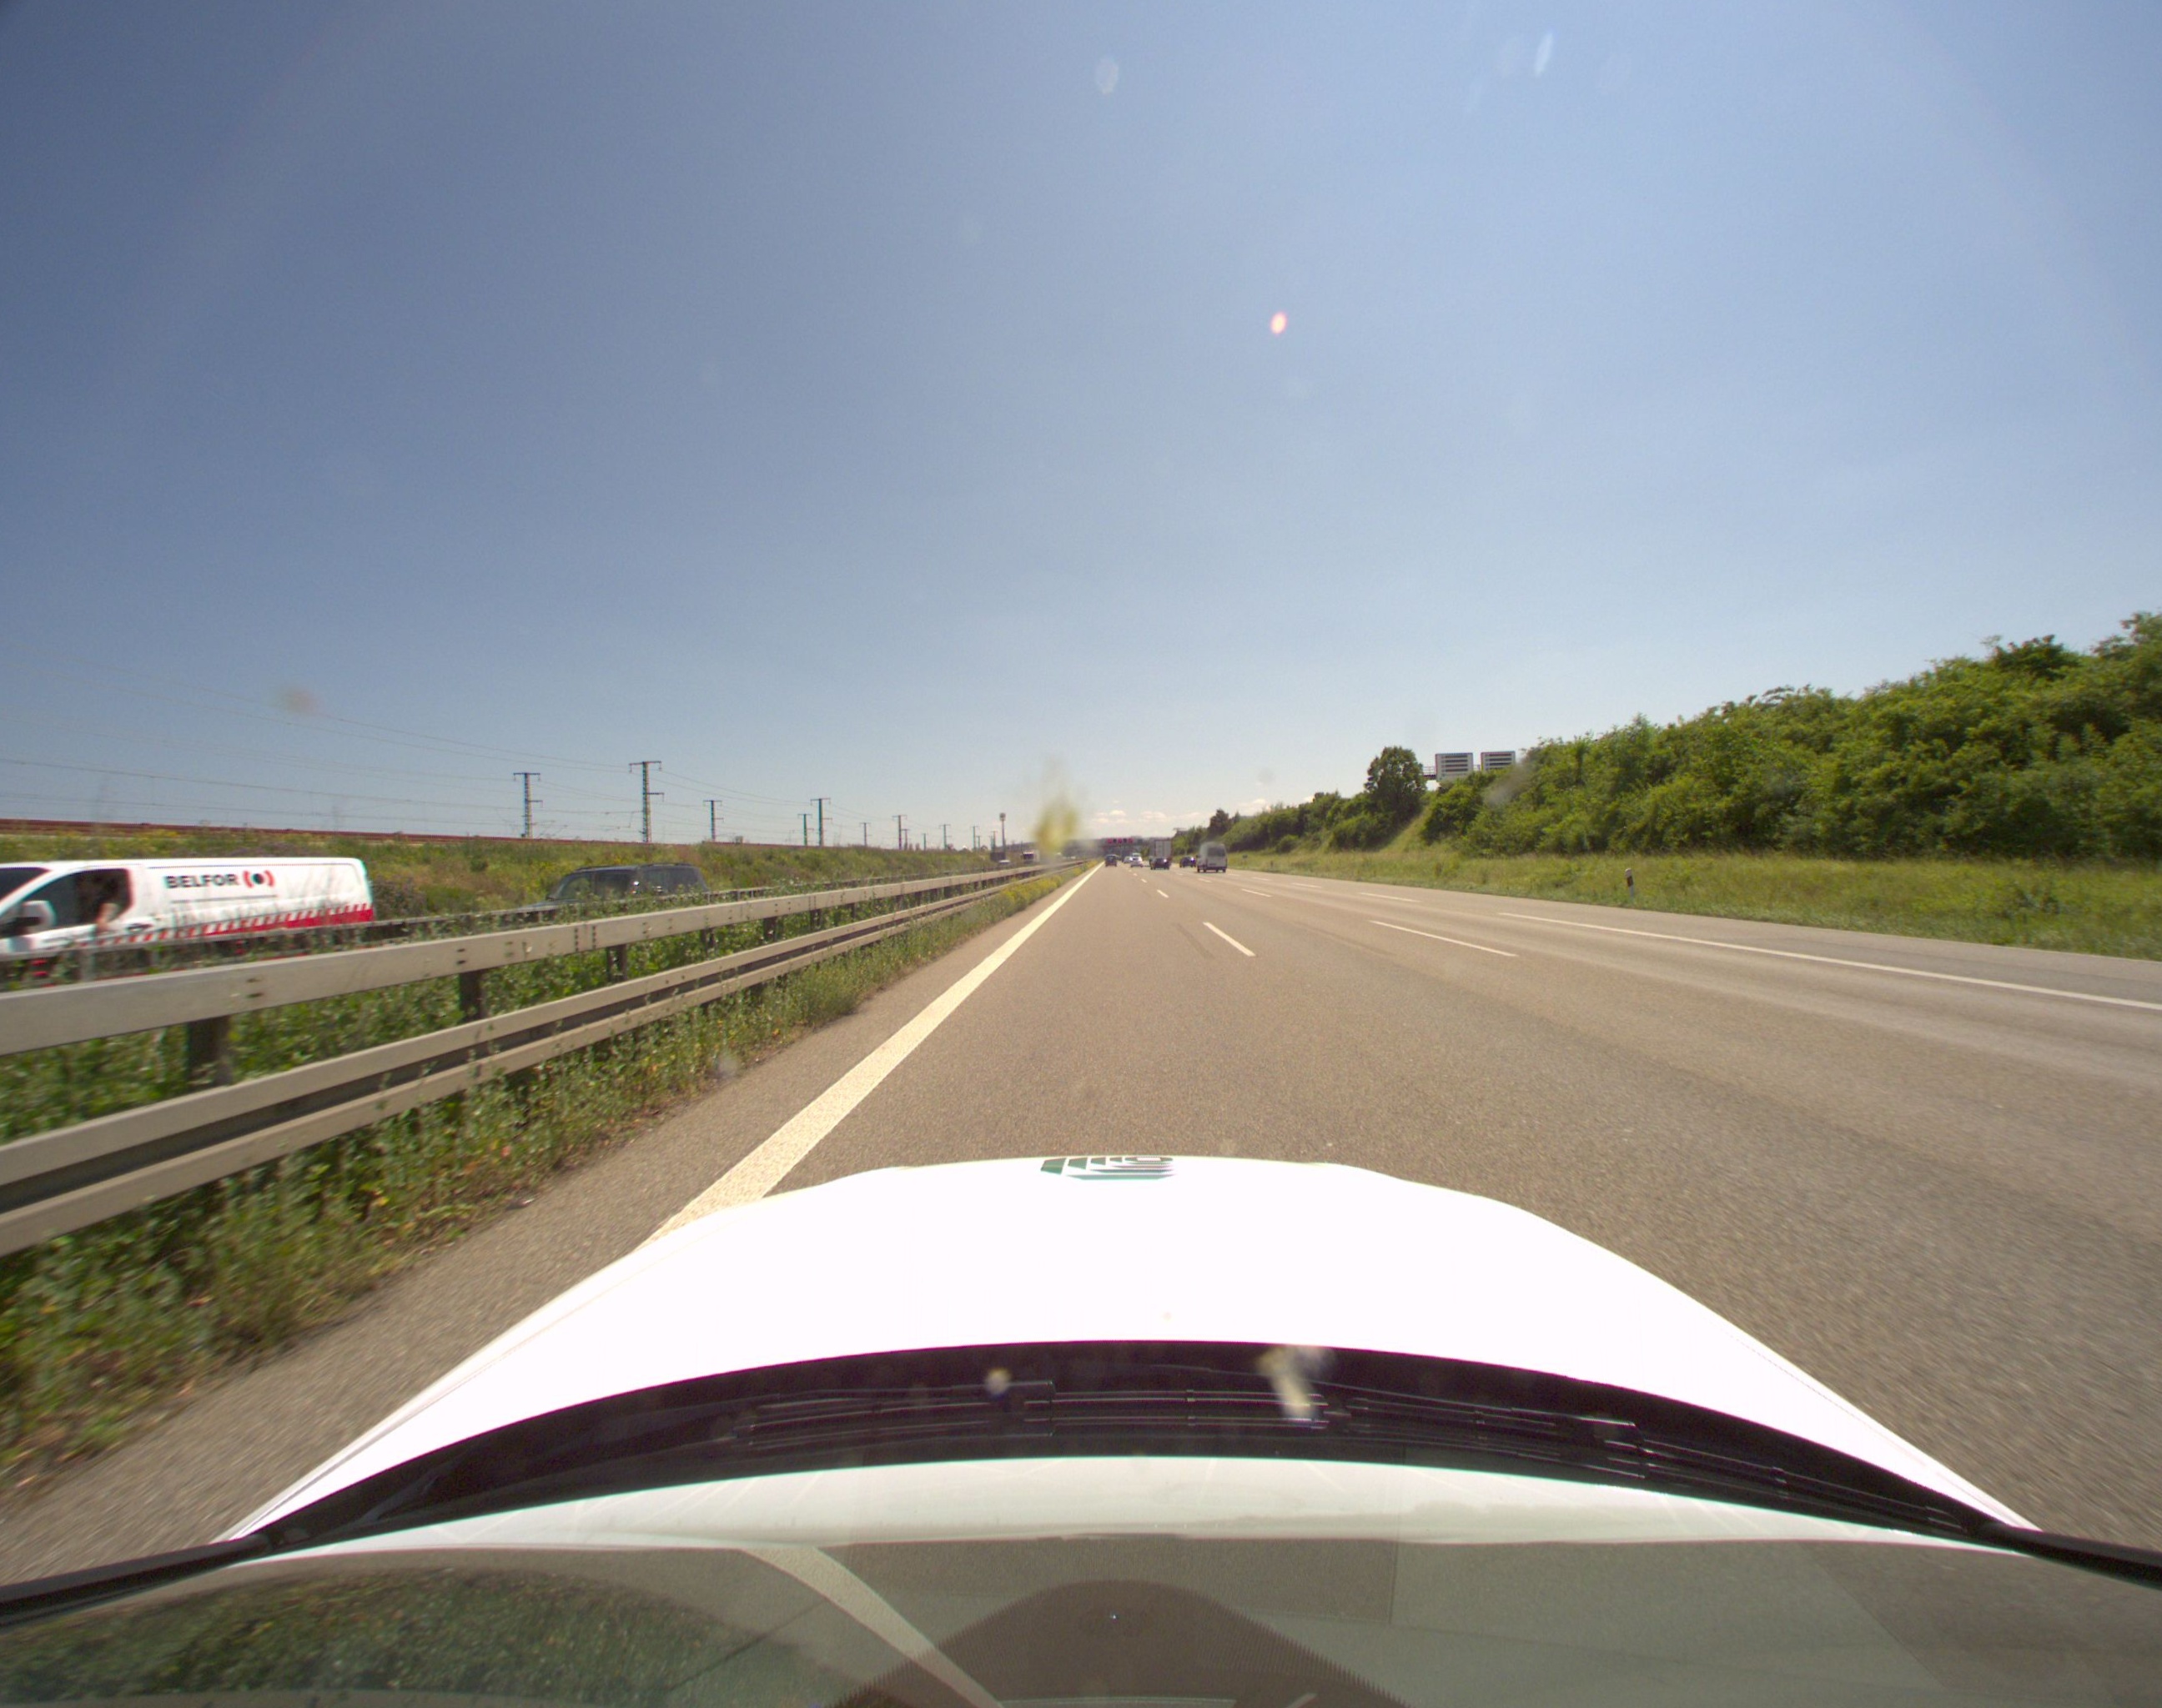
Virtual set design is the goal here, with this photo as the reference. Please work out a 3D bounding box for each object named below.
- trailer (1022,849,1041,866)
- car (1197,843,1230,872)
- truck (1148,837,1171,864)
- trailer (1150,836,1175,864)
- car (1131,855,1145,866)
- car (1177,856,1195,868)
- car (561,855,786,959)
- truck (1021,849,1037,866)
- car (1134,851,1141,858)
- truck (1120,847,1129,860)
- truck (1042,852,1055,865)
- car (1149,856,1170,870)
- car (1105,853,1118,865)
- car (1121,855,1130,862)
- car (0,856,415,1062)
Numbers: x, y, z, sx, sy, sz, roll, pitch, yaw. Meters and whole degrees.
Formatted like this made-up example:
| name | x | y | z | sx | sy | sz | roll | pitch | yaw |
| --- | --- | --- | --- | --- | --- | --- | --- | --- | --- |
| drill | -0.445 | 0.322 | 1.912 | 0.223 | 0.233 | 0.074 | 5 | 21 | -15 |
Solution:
| name | x | y | z | sx | sy | sz | roll | pitch | yaw |
| --- | --- | --- | --- | --- | --- | --- | --- | --- | --- |
| trailer | -10.077 | 0.736 | 165.875 | 2.776 | 3.388 | 9.587 | 0 | 0 | 2 |
| car | 12.139 | 0.345 | 74.962 | 2.266 | 2.528 | 5.400 | -1 | 0 | 1 |
| truck | 12.668 | -0.580 | 131.896 | 3.165 | 4.059 | 9.444 | -2 | 0 | 2 |
| trailer | 12.355 | -0.570 | 124.374 | 3.165 | 4.059 | 9.444 | -2 | 0 | 2 |
| car | 8.014 | 0.890 | 115.042 | 1.872 | 1.526 | 4.005 | -1 | -1 | 5 |
| car | 13.907 | 1.072 | 107.890 | 1.986 | 1.596 | 4.001 | 0 | -1 | 2 |
| car | -7.876 | 0.969 | 16.374 | 1.986 | 1.796 | 4.663 | 0 | -1 | 2 |
| truck | -10.268 | 0.715 | 160.939 | 2.777 | 3.388 | 4.716 | 0 | 0 | 2 |
| car | 17.546 | 0.173 | 251.975 | 1.985 | 2.013 | 4.441 | -2 | 0 | 4 |
| truck | 12.033 | -0.217 | 225.913 | 2.346 | 3.416 | 6.060 | -1 | 0 | 2 |
| truck | -8.448 | 1.147 | 212.238 | 2.777 | 3.521 | 4.716 | 0 | 0 | 2 |
| car | 8.959 | 1.044 | 93.508 | 1.987 | 1.508 | 3.998 | 0 | -1 | 0 |
| car | 4.717 | 0.753 | 125.442 | 1.873 | 1.775 | 4.002 | -2 | -1 | 2 |
| car | 9.736 | 1.060 | 176.935 | 1.873 | 1.526 | 4.003 | -1 | -1 | 3 |
| car | -11.497 | 1.049 | 10.028 | 1.986 | 2.013 | 5.433 | -1 | 0 | 1 |
